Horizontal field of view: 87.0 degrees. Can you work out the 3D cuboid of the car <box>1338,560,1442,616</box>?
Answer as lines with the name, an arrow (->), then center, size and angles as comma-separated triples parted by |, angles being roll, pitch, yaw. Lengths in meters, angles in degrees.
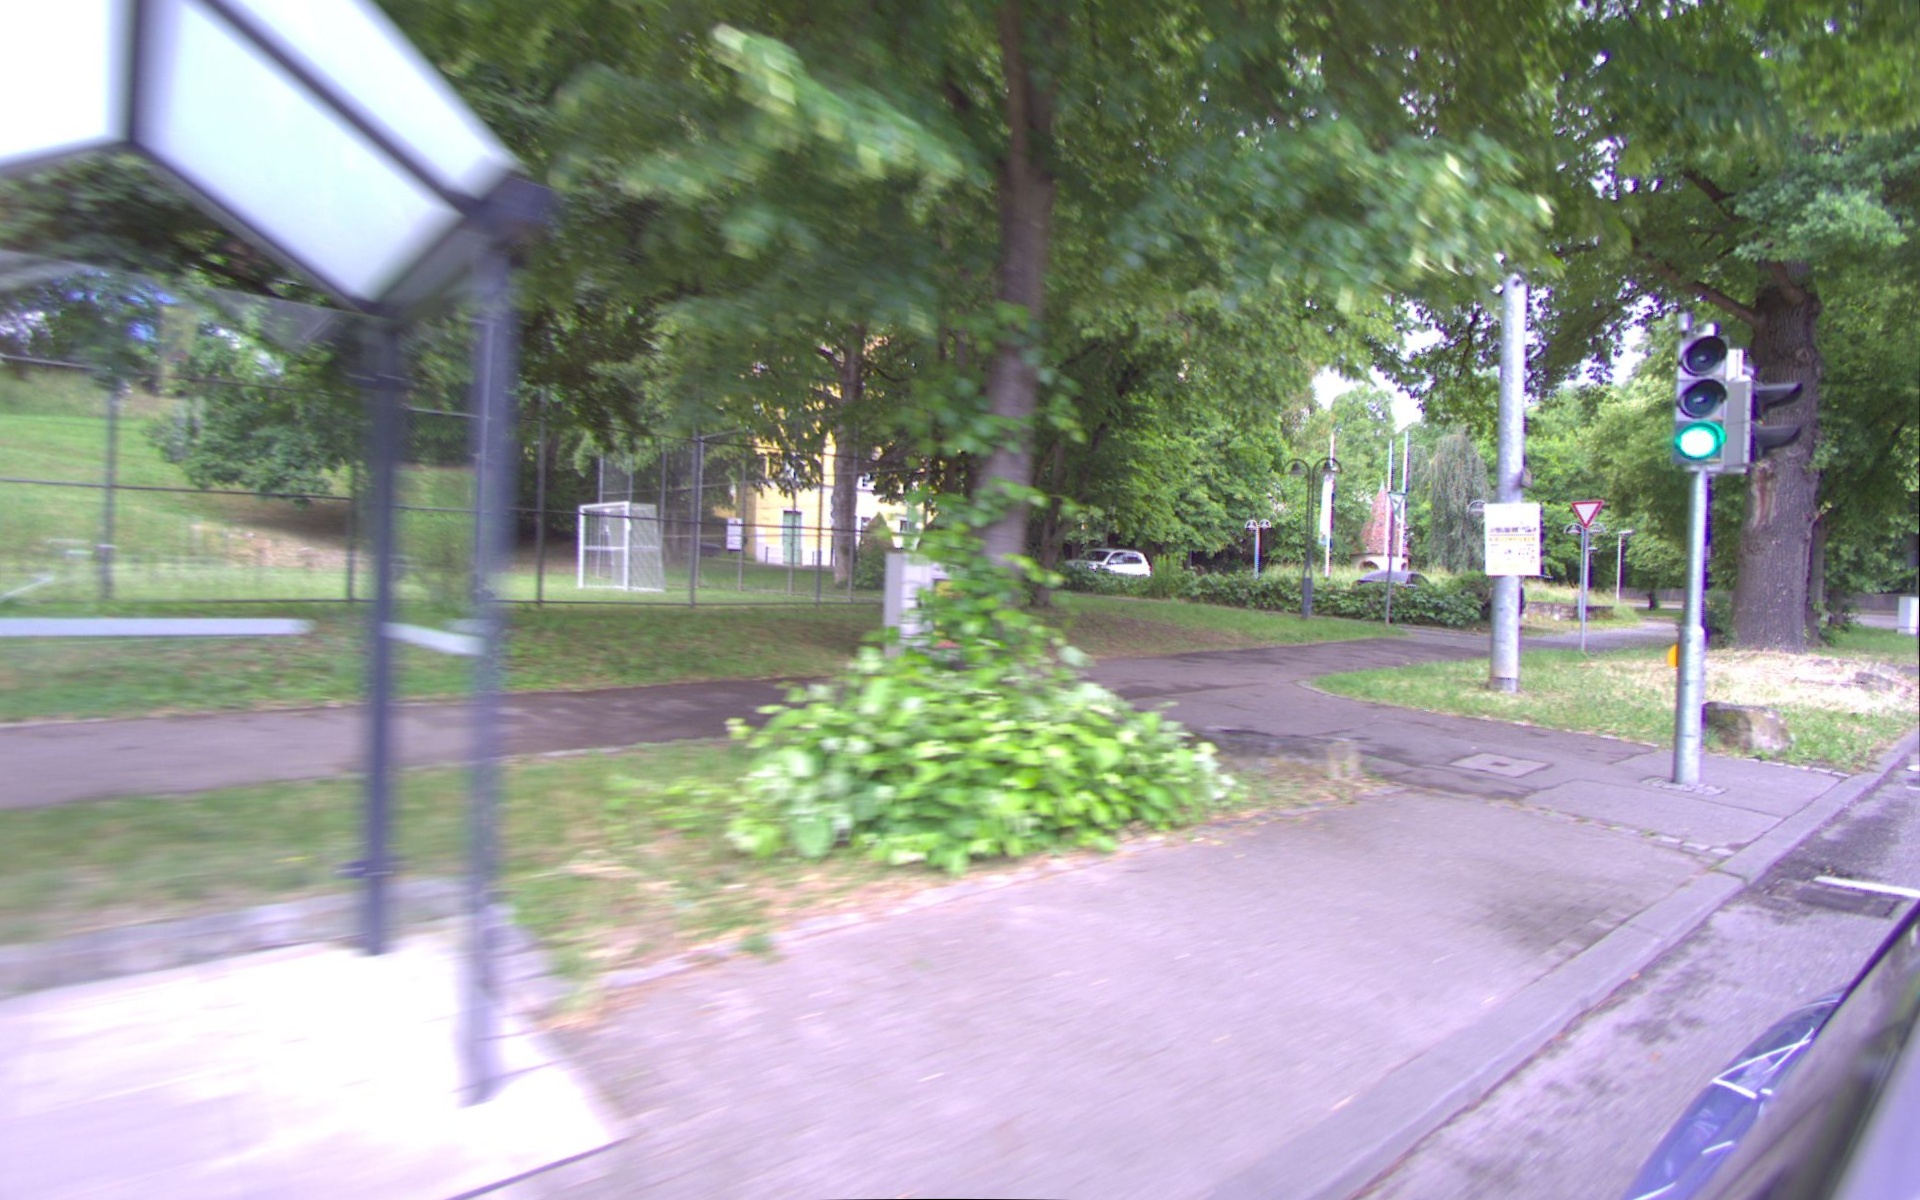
car -> 13.443, -0.348, 31.479 | 1.903, 1.448, 4.405 | 5, 1, 37

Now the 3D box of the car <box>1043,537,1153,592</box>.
car -> 5.326, -1.345, 38.727 | 3.930, 1.670, 1.998 | 3, 3, -42
